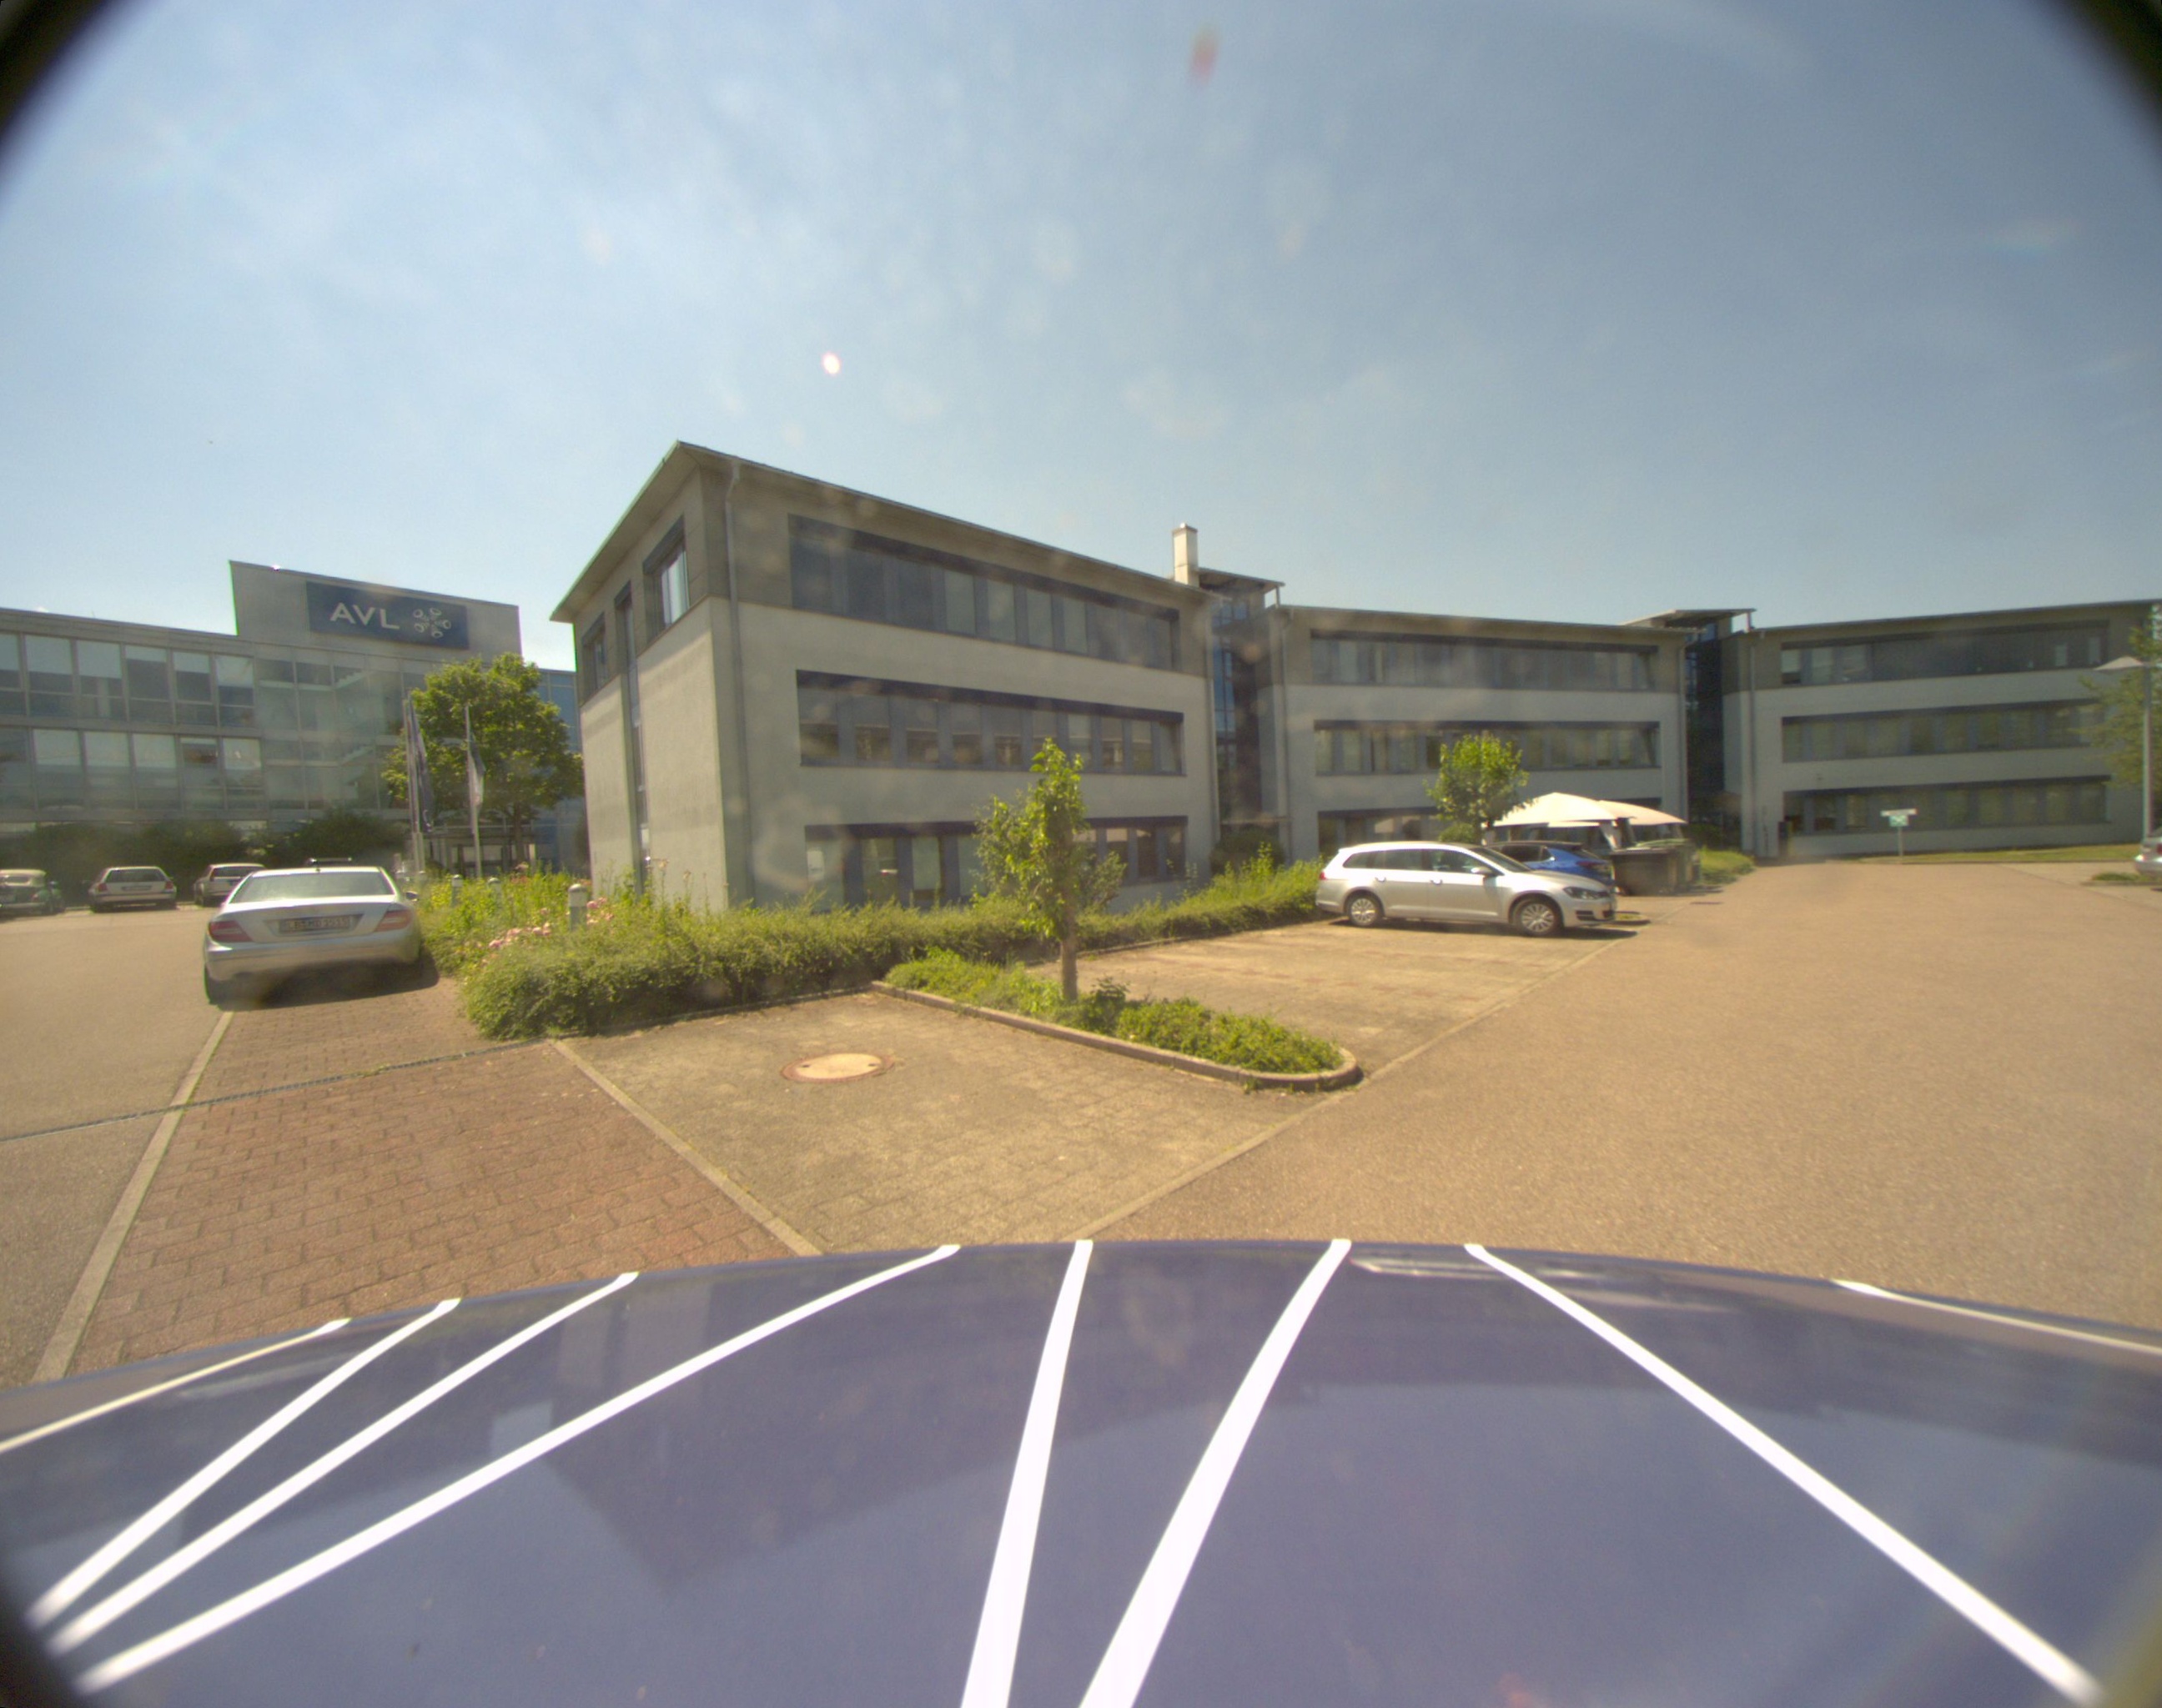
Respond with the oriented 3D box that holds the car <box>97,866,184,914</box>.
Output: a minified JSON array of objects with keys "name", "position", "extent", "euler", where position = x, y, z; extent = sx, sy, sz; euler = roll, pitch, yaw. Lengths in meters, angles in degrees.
[{"name":"car","position":[-31.897,1.190,25.751],"extent":[3.989,1.432,1.677],"euler":[-2,1,37]}]

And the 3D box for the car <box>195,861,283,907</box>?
[{"name":"car","position":[-30.804,1.086,27.772],"extent":[3.989,1.510,1.753],"euler":[-2,1,37]}]

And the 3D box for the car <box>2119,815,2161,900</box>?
[{"name":"car","position":[21.670,0.000,13.389],"extent":[3.755,1.549,1.664],"euler":[-2,1,43]}]

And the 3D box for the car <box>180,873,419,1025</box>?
[{"name":"car","position":[-9.602,0.999,9.479],"extent":[1.733,1.428,3.706],"euler":[-3,1,-45]}]

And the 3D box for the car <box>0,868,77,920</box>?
[{"name":"car","position":[-33.420,1.241,23.979],"extent":[3.989,1.510,1.753],"euler":[-2,1,41]}]

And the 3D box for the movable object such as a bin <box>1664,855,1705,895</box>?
[{"name":"movable object such as a bin","position":[15.305,0.525,19.271],"extent":[0.723,0.944,0.689],"euler":[-3,1,-41]}]

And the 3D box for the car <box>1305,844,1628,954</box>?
[{"name":"car","position":[6.297,0.625,12.769],"extent":[4.507,1.489,1.833],"euler":[0,2,43]}]

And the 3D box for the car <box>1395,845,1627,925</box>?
[{"name":"car","position":[8.660,0.538,15.484],"extent":[3.816,1.384,1.655],"euler":[0,2,43]}]

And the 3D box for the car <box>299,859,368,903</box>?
[{"name":"car","position":[-28.791,1.001,29.225],"extent":[3.989,1.510,1.753],"euler":[-2,1,44]}]

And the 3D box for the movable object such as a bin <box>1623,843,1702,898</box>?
[{"name":"movable object such as a bin","position":[14.406,0.398,18.837],"extent":[1.045,1.288,1.361],"euler":[-3,1,-41]}]

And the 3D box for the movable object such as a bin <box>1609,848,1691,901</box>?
[{"name":"movable object such as a bin","position":[13.592,0.472,18.160],"extent":[0.999,1.183,1.361],"euler":[-3,1,-41]}]

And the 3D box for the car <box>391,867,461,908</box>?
[{"name":"car","position":[-26.842,1.331,31.108],"extent":[3.989,1.510,1.753],"euler":[-2,1,44]}]
